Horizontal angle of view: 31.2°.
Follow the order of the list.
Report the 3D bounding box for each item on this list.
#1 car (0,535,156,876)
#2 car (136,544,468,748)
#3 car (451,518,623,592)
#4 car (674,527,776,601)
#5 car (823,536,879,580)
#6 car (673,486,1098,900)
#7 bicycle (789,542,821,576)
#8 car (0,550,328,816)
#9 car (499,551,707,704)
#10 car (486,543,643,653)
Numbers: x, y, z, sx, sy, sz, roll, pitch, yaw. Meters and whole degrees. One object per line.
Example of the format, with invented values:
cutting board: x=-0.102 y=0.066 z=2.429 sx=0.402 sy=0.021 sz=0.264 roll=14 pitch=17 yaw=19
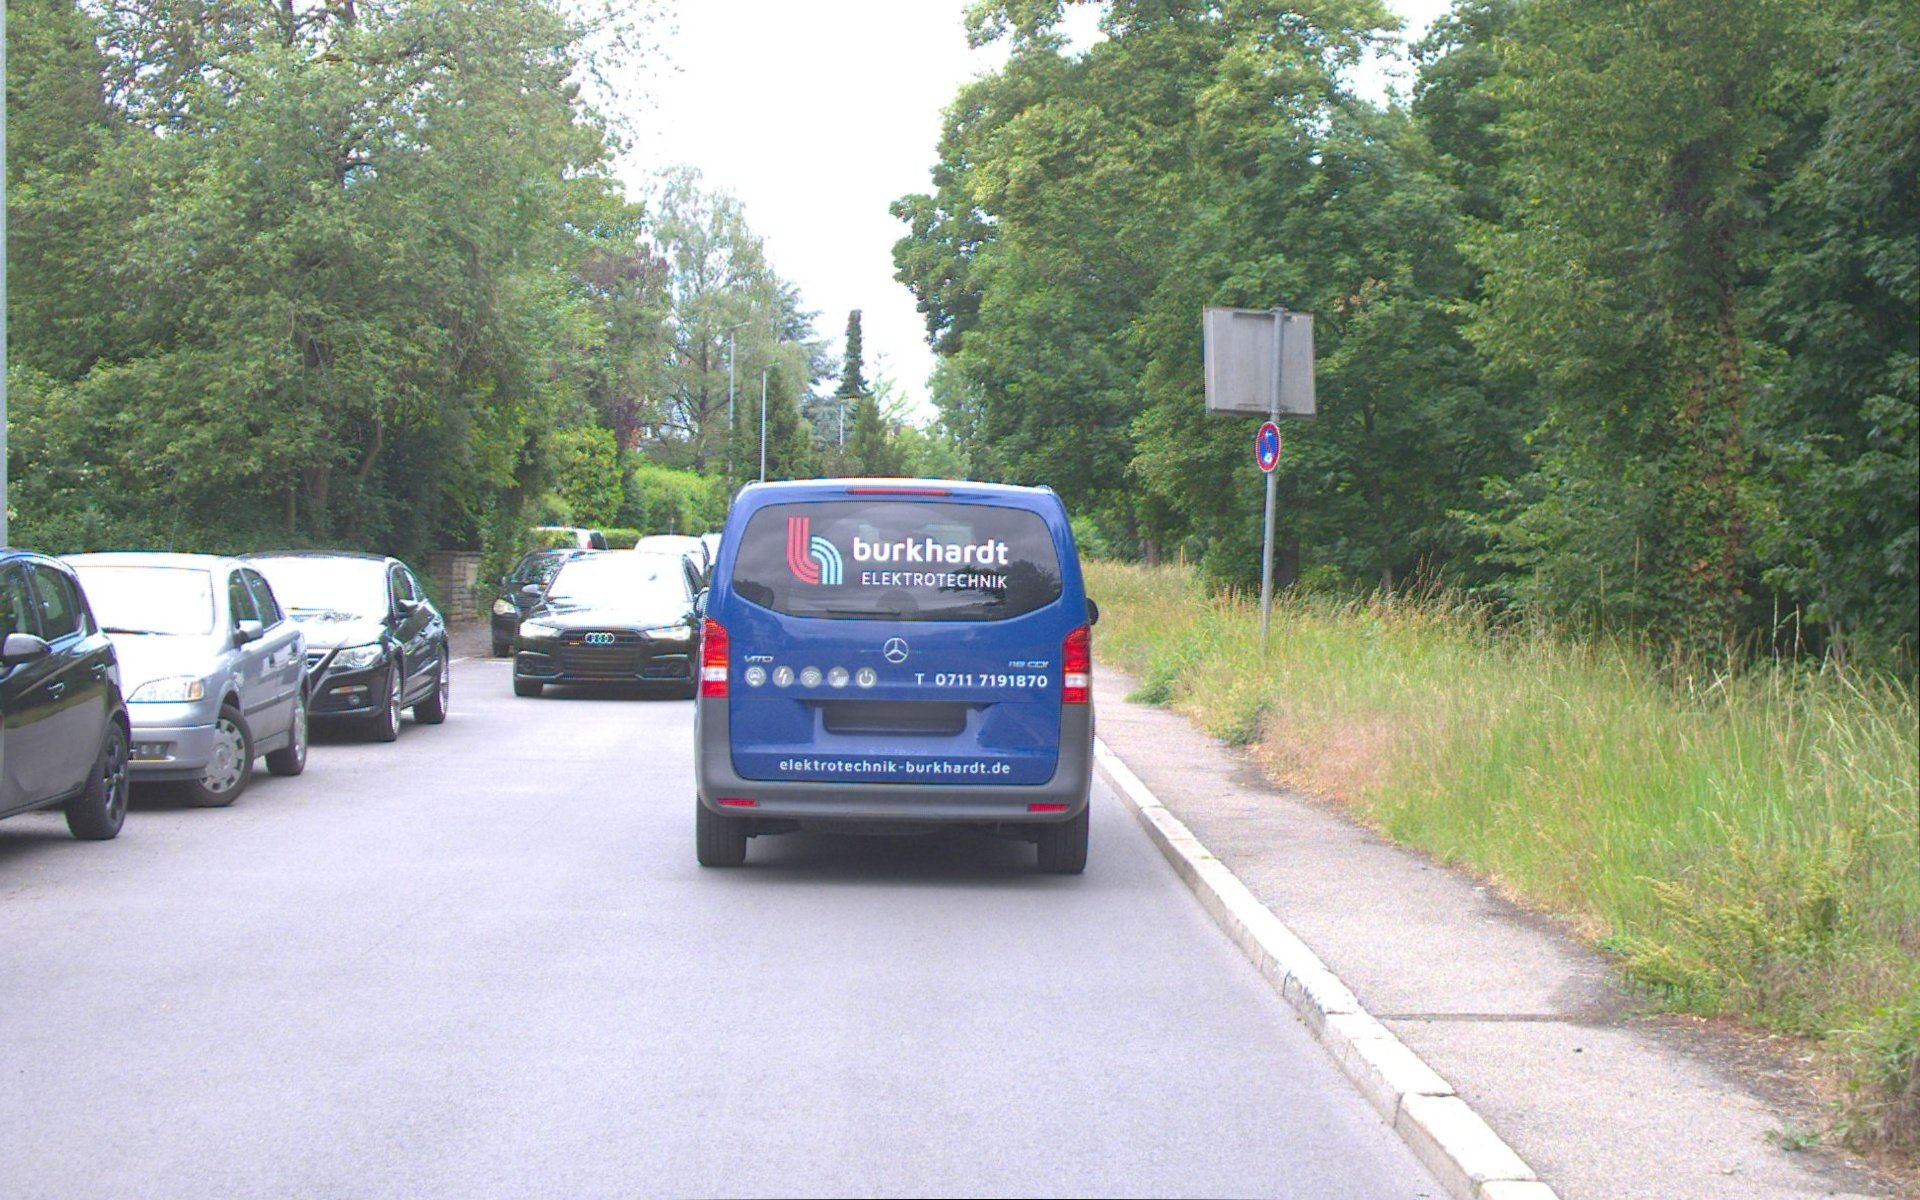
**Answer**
car: x=-4.980 y=0.440 z=15.911 sx=1.624 sy=1.477 sz=4.000 roll=0 pitch=1 yaw=-1
car: x=-5.102 y=0.292 z=27.293 sx=1.778 sy=1.427 sz=5.106 roll=1 pitch=1 yaw=-2
car: x=-10.275 y=-1.091 z=83.533 sx=3.694 sy=1.632 sz=1.827 roll=3 pitch=1 yaw=13
car: x=-5.866 y=-0.913 z=86.407 sx=1.974 sy=1.731 sz=5.189 roll=2 pitch=1 yaw=2
car: x=-4.353 y=-1.680 z=137.655 sx=1.836 sy=1.625 sz=4.300 roll=3 pitch=1 yaw=3
car: x=-0.437 y=0.354 z=17.390 sx=1.888 sy=1.837 sz=4.001 roll=0 pitch=2 yaw=-3
bicycle: x=-6.062 y=-1.613 z=134.797 sx=0.906 sy=1.247 sz=2.916 roll=4 pitch=1 yaw=3
car: x=-4.974 y=0.418 z=20.805 sx=1.624 sy=1.427 sz=4.352 roll=0 pitch=1 yaw=-2
car: x=-3.617 y=0.235 z=35.478 sx=1.780 sy=1.421 sz=4.490 roll=1 pitch=1 yaw=-2
car: x=-5.421 y=-0.055 z=47.511 sx=1.623 sy=1.445 sz=3.969 roll=1 pitch=1 yaw=1
